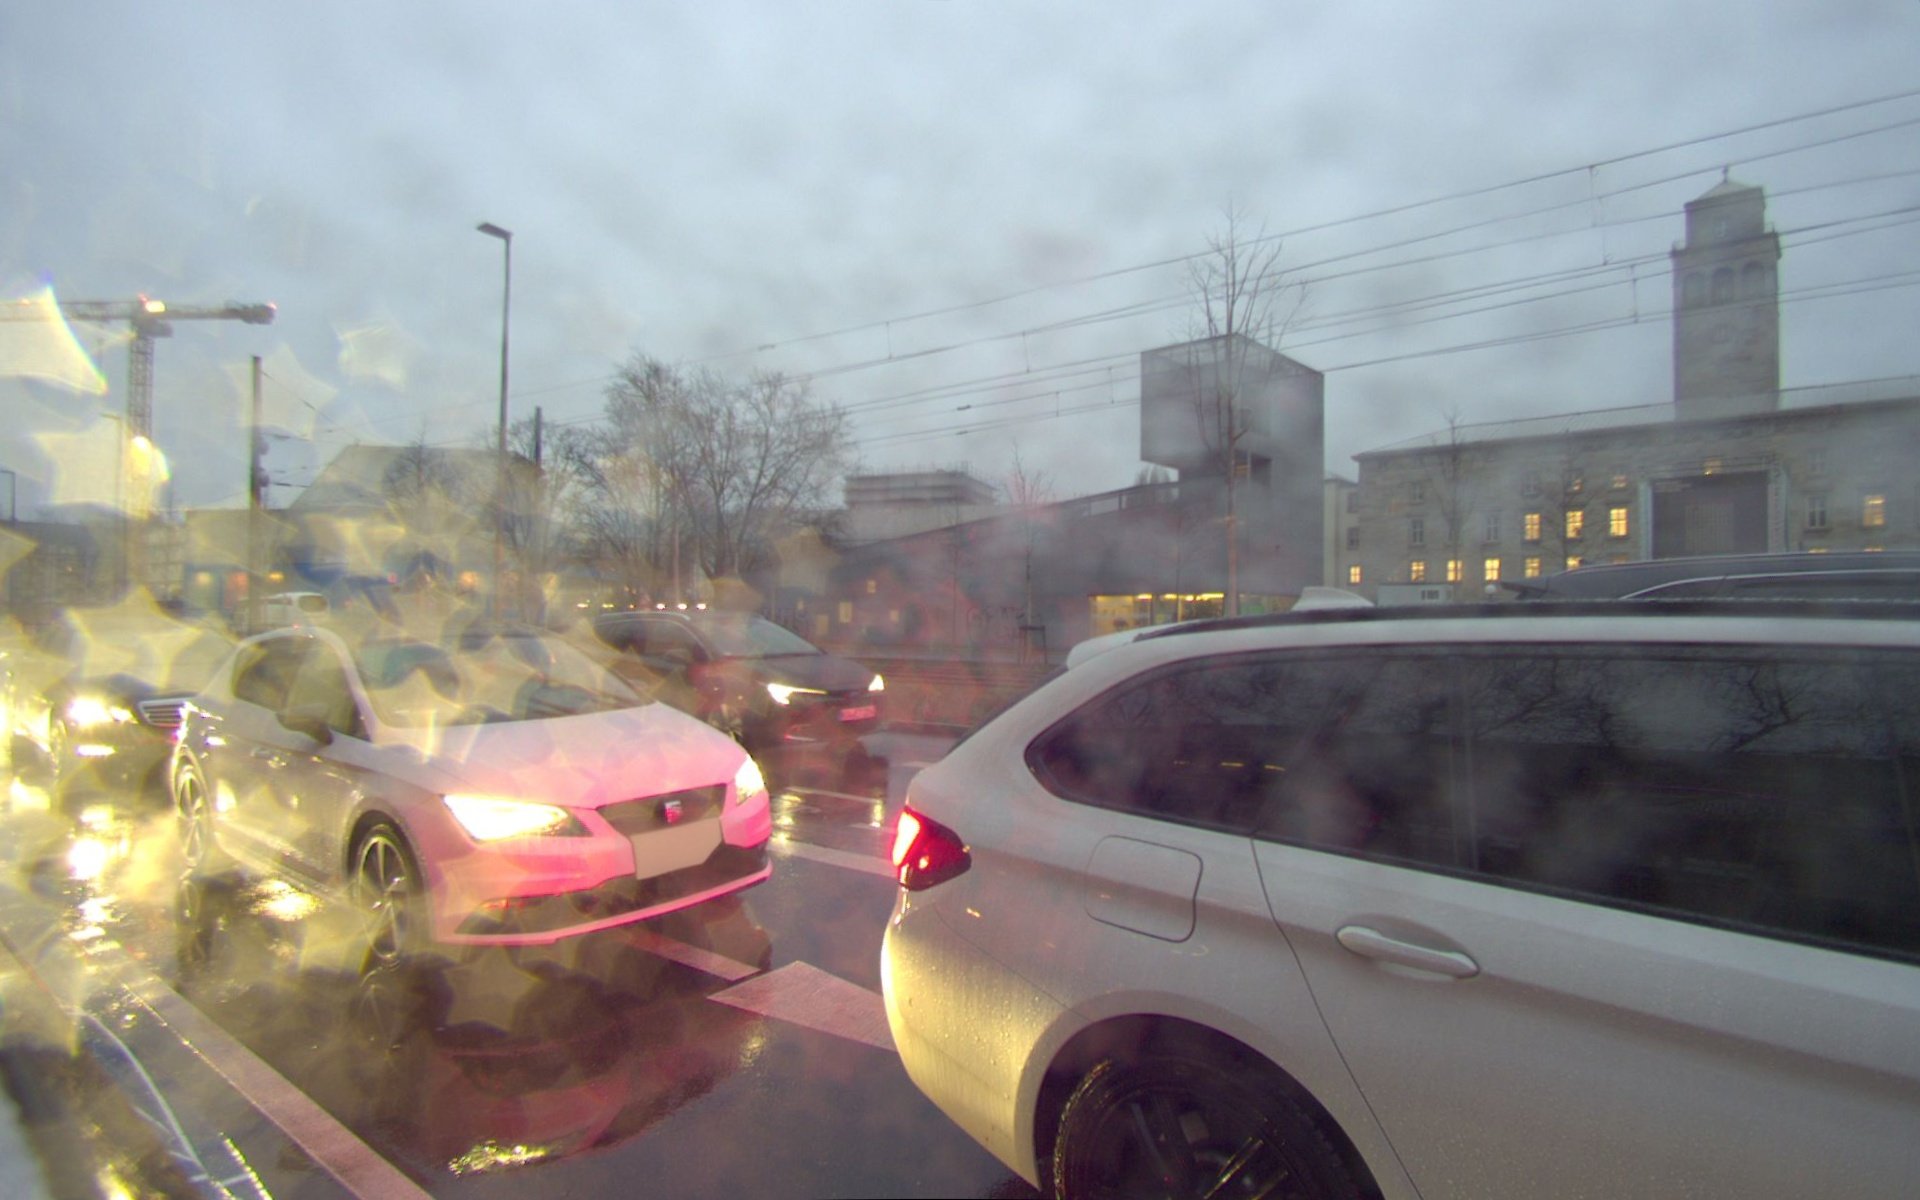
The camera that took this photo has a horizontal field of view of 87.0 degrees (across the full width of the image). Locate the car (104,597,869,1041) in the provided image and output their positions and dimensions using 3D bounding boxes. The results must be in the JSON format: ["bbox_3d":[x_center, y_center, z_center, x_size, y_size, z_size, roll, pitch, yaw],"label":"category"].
[{"bbox_3d":[-2.825,0.774,5.572,4.497,1.498,1.926,-1,0,37],"label":"car"}]

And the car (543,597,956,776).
[{"bbox_3d":[-2.405,0.763,10.815,4.659,1.519,1.830,0,-1,39],"label":"car"}]

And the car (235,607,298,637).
[{"bbox_3d":[-45.439,1.459,66.291,3.989,1.910,2.072,-1,-2,34],"label":"car"}]

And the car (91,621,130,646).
[{"bbox_3d":[-74.162,2.885,88.340,3.998,2.029,1.973,-1,0,41],"label":"car"}]

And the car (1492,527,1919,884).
[{"bbox_3d":[5.235,0.478,4.990,4.289,1.596,1.946,-1,-1,42],"label":"car"}]

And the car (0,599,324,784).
[{"bbox_3d":[-8.483,0.790,10.403,4.501,1.498,1.974,-1,-2,39],"label":"car"}]

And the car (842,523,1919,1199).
[{"bbox_3d":[2.095,0.674,1.638,4.557,1.498,1.996,-1,-2,41],"label":"car"}]
